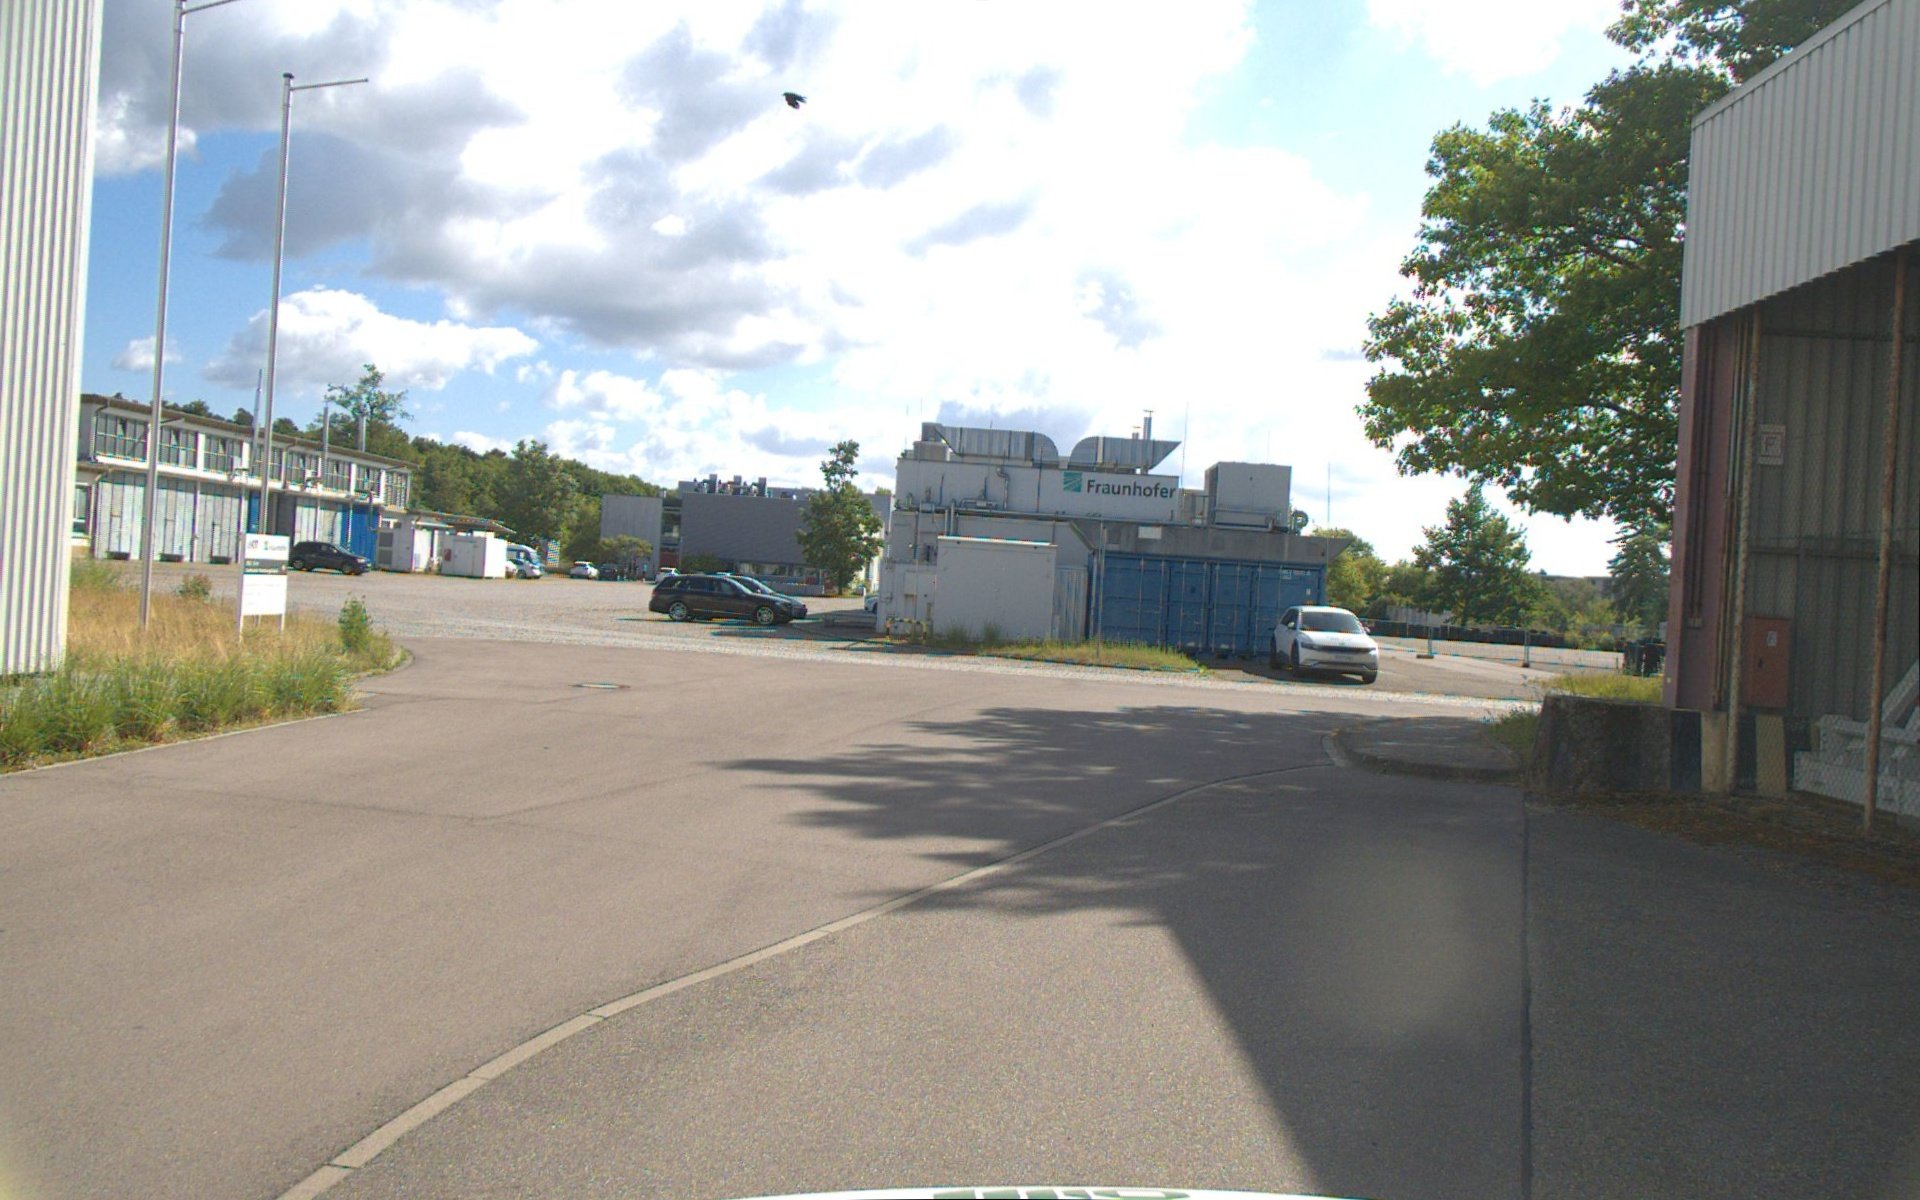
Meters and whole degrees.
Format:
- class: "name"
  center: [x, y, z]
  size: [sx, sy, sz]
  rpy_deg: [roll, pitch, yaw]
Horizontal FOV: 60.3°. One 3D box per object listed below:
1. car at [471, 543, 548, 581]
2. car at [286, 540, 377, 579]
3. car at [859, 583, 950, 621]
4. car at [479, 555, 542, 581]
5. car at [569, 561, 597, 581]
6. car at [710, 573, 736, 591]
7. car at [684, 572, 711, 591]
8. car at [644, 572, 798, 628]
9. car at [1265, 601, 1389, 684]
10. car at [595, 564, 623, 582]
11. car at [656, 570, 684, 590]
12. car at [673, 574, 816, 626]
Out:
- class: "car"
  center: [-34.234, -2.898, 125.777]
  size: [5.148, 2.484, 2.051]
  rpy_deg: [4, 0, 5]
- class: "car"
  center: [-33.935, -2.191, 89.377]
  size: [4.078, 1.694, 1.783]
  rpy_deg: [5, 0, -1]
- class: "car"
  center: [-2.627, 0.109, 79.638]
  size: [4.191, 1.596, 1.987]
  rpy_deg: [3, -2, 1]
- class: "car"
  center: [-33.365, -2.378, 122.819]
  size: [4.024, 1.659, 1.809]
  rpy_deg: [4, 0, 5]
- class: "car"
  center: [-34.018, -2.569, 149.298]
  size: [1.810, 1.697, 4.130]
  rpy_deg: [2, 0, -3]
- class: "car"
  center: [-21.384, -1.595, 149.272]
  size: [1.839, 1.564, 4.035]
  rpy_deg: [2, 0, -1]
- class: "car"
  center: [-23.668, -1.658, 149.090]
  size: [1.839, 1.564, 4.035]
  rpy_deg: [2, 0, -1]
- class: "car"
  center: [-7.458, 0.015, 51.967]
  size: [4.436, 1.468, 1.987]
  rpy_deg: [3, -1, 1]
- class: "car"
  center: [8.586, 0.942, 39.082]
  size: [1.940, 1.621, 4.341]
  rpy_deg: [4, 1, 1]
- class: "car"
  center: [-31.620, -2.436, 149.137]
  size: [1.840, 1.564, 4.033]
  rpy_deg: [2, 0, -3]
- class: "car"
  center: [-26.176, -1.804, 149.286]
  size: [1.839, 1.719, 4.035]
  rpy_deg: [2, 0, -1]
- class: "car"
  center: [-7.153, 0.015, 55.221]
  size: [4.436, 1.468, 1.904]
  rpy_deg: [3, -1, 1]
